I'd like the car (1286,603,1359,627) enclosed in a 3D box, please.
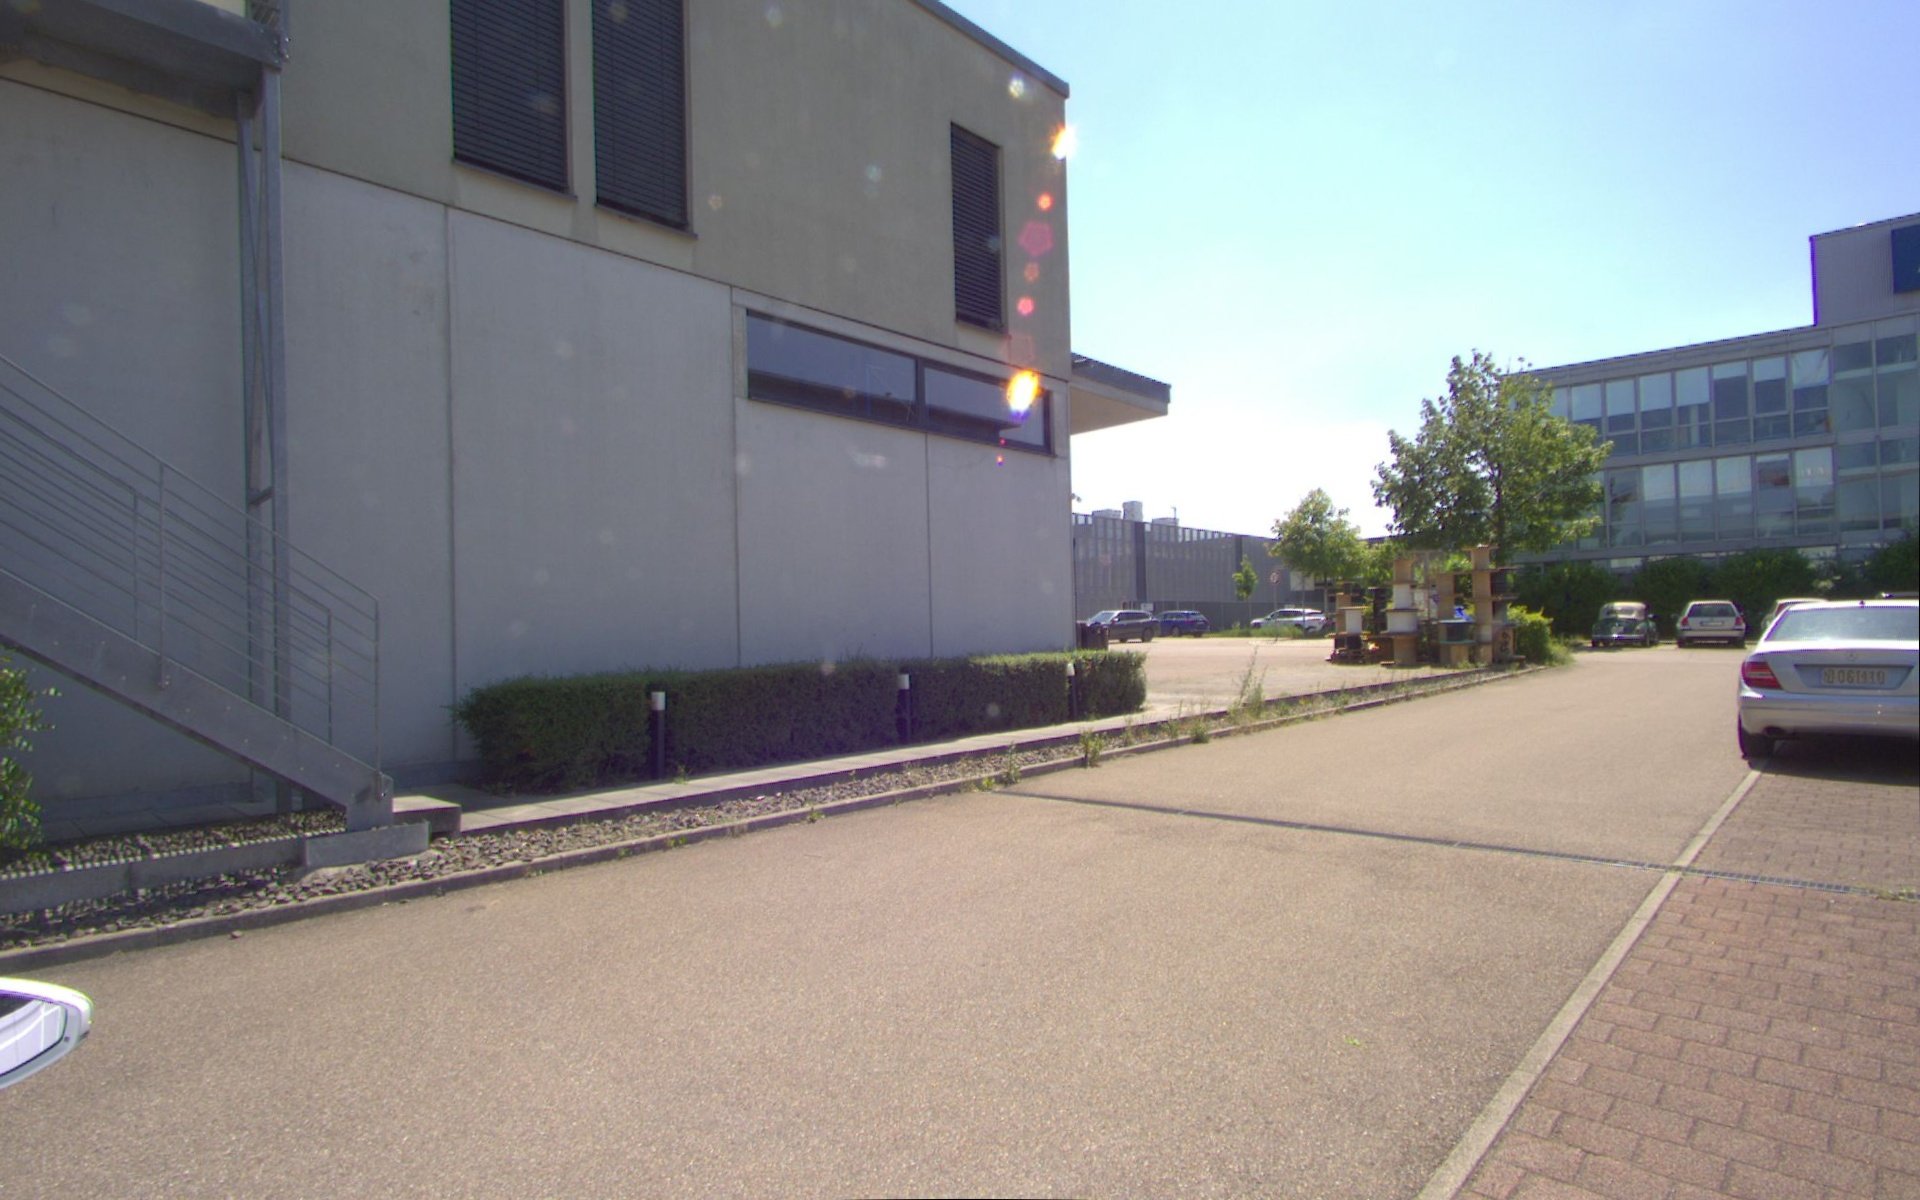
[{"bbox_3d":[22.439,0.947,62.096,1.727,1.433,4.041,1,-2,-33],"label":"car"}]

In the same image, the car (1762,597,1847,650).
[{"bbox_3d":[26.208,0.719,31.181,1.727,1.538,3.975,-1,-1,36],"label":"car"}]

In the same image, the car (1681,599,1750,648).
[{"bbox_3d":[24.215,0.763,32.192,1.652,1.459,3.975,-1,-1,36],"label":"car"}]

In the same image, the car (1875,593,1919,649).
[{"bbox_3d":[27.911,0.606,29.252,1.731,1.538,3.966,-1,-2,43],"label":"car"}]

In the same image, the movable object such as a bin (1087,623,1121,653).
[{"bbox_3d":[4.832,1.275,33.542,0.809,0.993,0.803,-1,-1,43],"label":"movable object such as a bin"}]

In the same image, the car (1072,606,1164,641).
[{"bbox_3d":[7.258,1.069,45.817,4.120,1.539,1.643,0,-1,-33],"label":"car"}]

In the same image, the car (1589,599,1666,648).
[{"bbox_3d":[22.450,0.789,33.628,1.729,1.538,3.969,-1,-2,40],"label":"car"}]

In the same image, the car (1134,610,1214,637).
[{"bbox_3d":[11.717,1.325,55.108,1.726,1.433,4.423,1,-2,-32],"label":"car"}]

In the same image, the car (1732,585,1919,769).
[{"bbox_3d":[8.653,0.641,9.502,1.712,1.455,3.683,-1,-2,44],"label":"car"}]

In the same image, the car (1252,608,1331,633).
[{"bbox_3d":[19.923,1.267,60.321,1.727,1.433,4.421,1,-2,-33],"label":"car"}]
